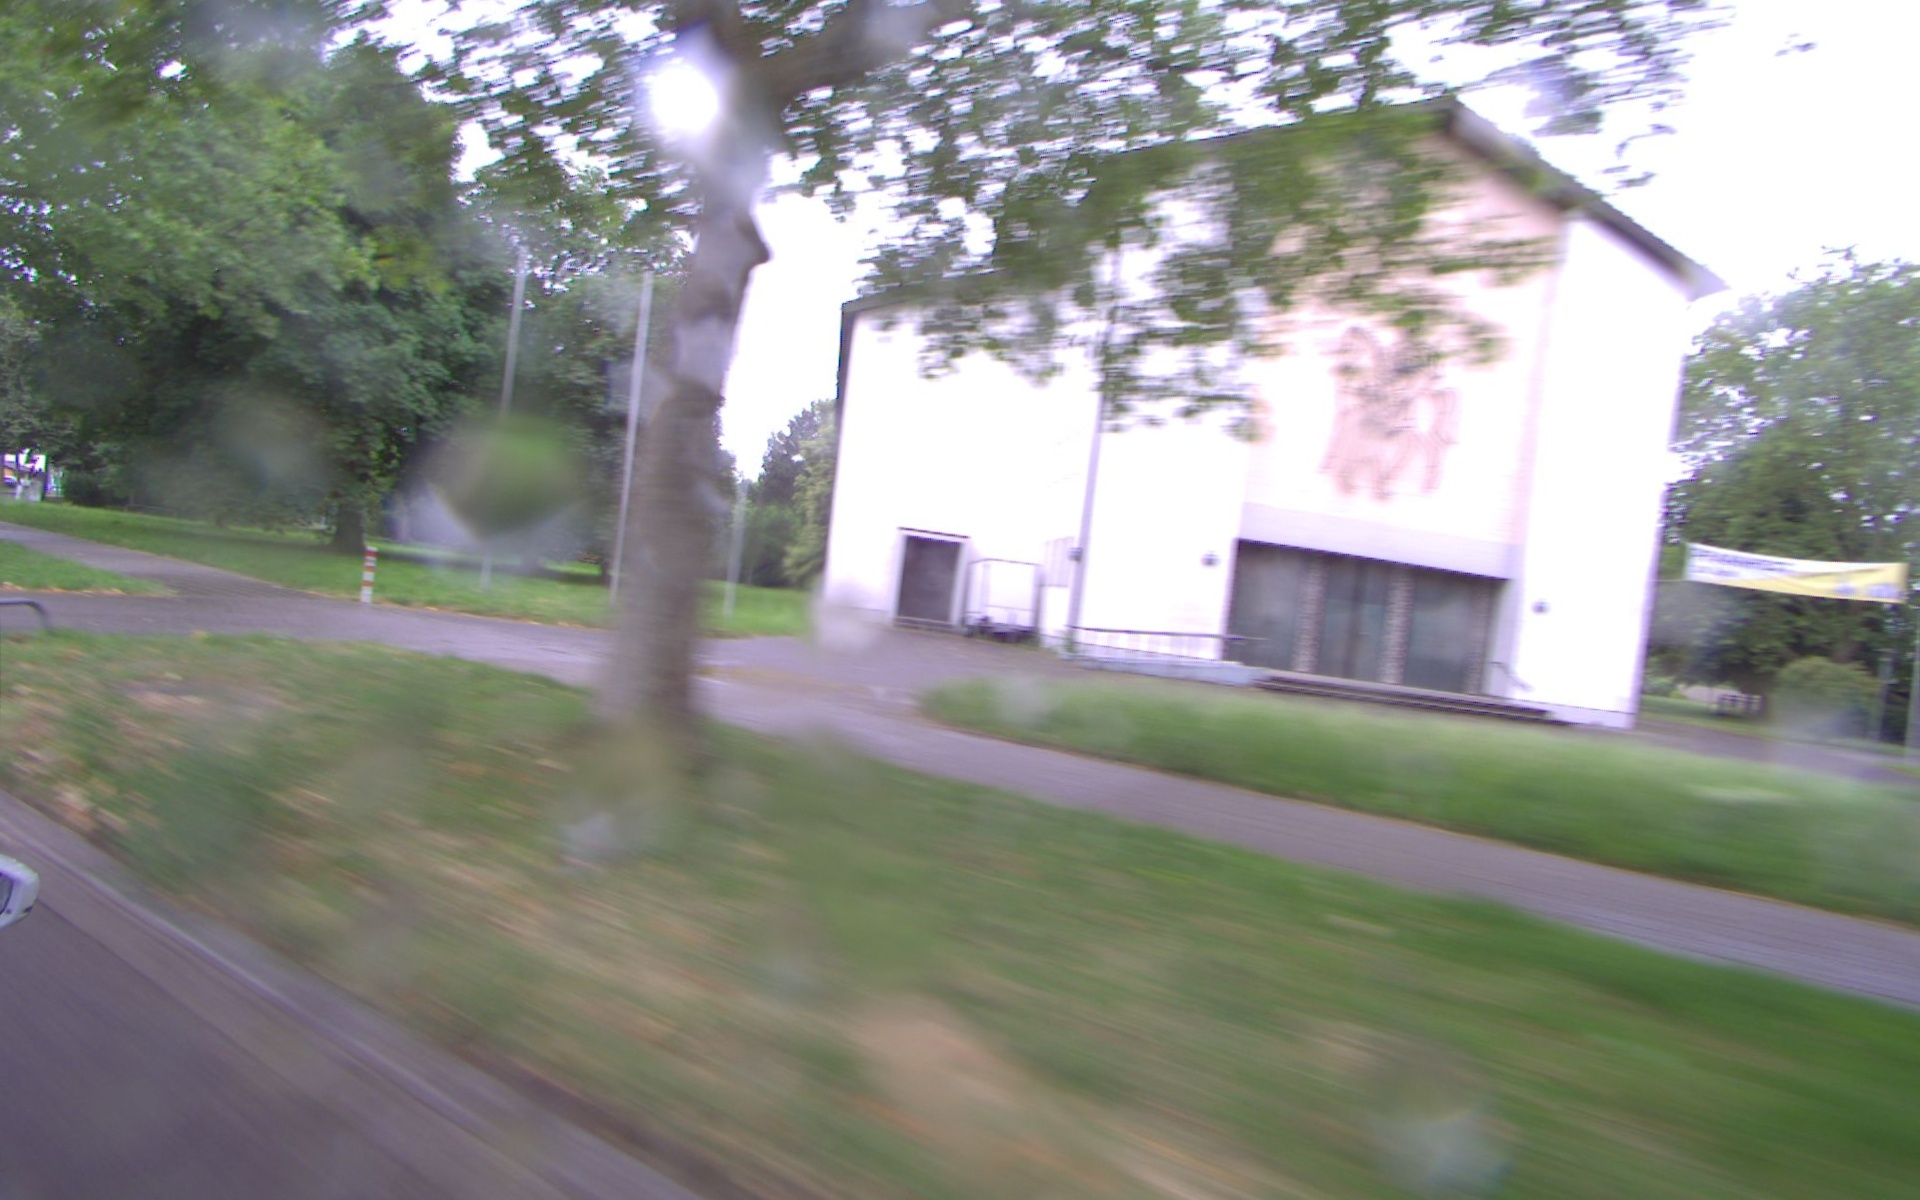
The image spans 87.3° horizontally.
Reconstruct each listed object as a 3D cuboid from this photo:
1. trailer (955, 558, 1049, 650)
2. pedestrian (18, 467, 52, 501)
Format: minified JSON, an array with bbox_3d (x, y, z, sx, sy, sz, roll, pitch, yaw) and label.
[{"bbox_3d":[1.164,0.073,29.898,1.859,2.338,4.013,7,1,-8],"label":"trailer"},{"bbox_3d":[-52.860,-6.615,57.495,1.015,1.716,0.854,7,1,7],"label":"pedestrian"}]
